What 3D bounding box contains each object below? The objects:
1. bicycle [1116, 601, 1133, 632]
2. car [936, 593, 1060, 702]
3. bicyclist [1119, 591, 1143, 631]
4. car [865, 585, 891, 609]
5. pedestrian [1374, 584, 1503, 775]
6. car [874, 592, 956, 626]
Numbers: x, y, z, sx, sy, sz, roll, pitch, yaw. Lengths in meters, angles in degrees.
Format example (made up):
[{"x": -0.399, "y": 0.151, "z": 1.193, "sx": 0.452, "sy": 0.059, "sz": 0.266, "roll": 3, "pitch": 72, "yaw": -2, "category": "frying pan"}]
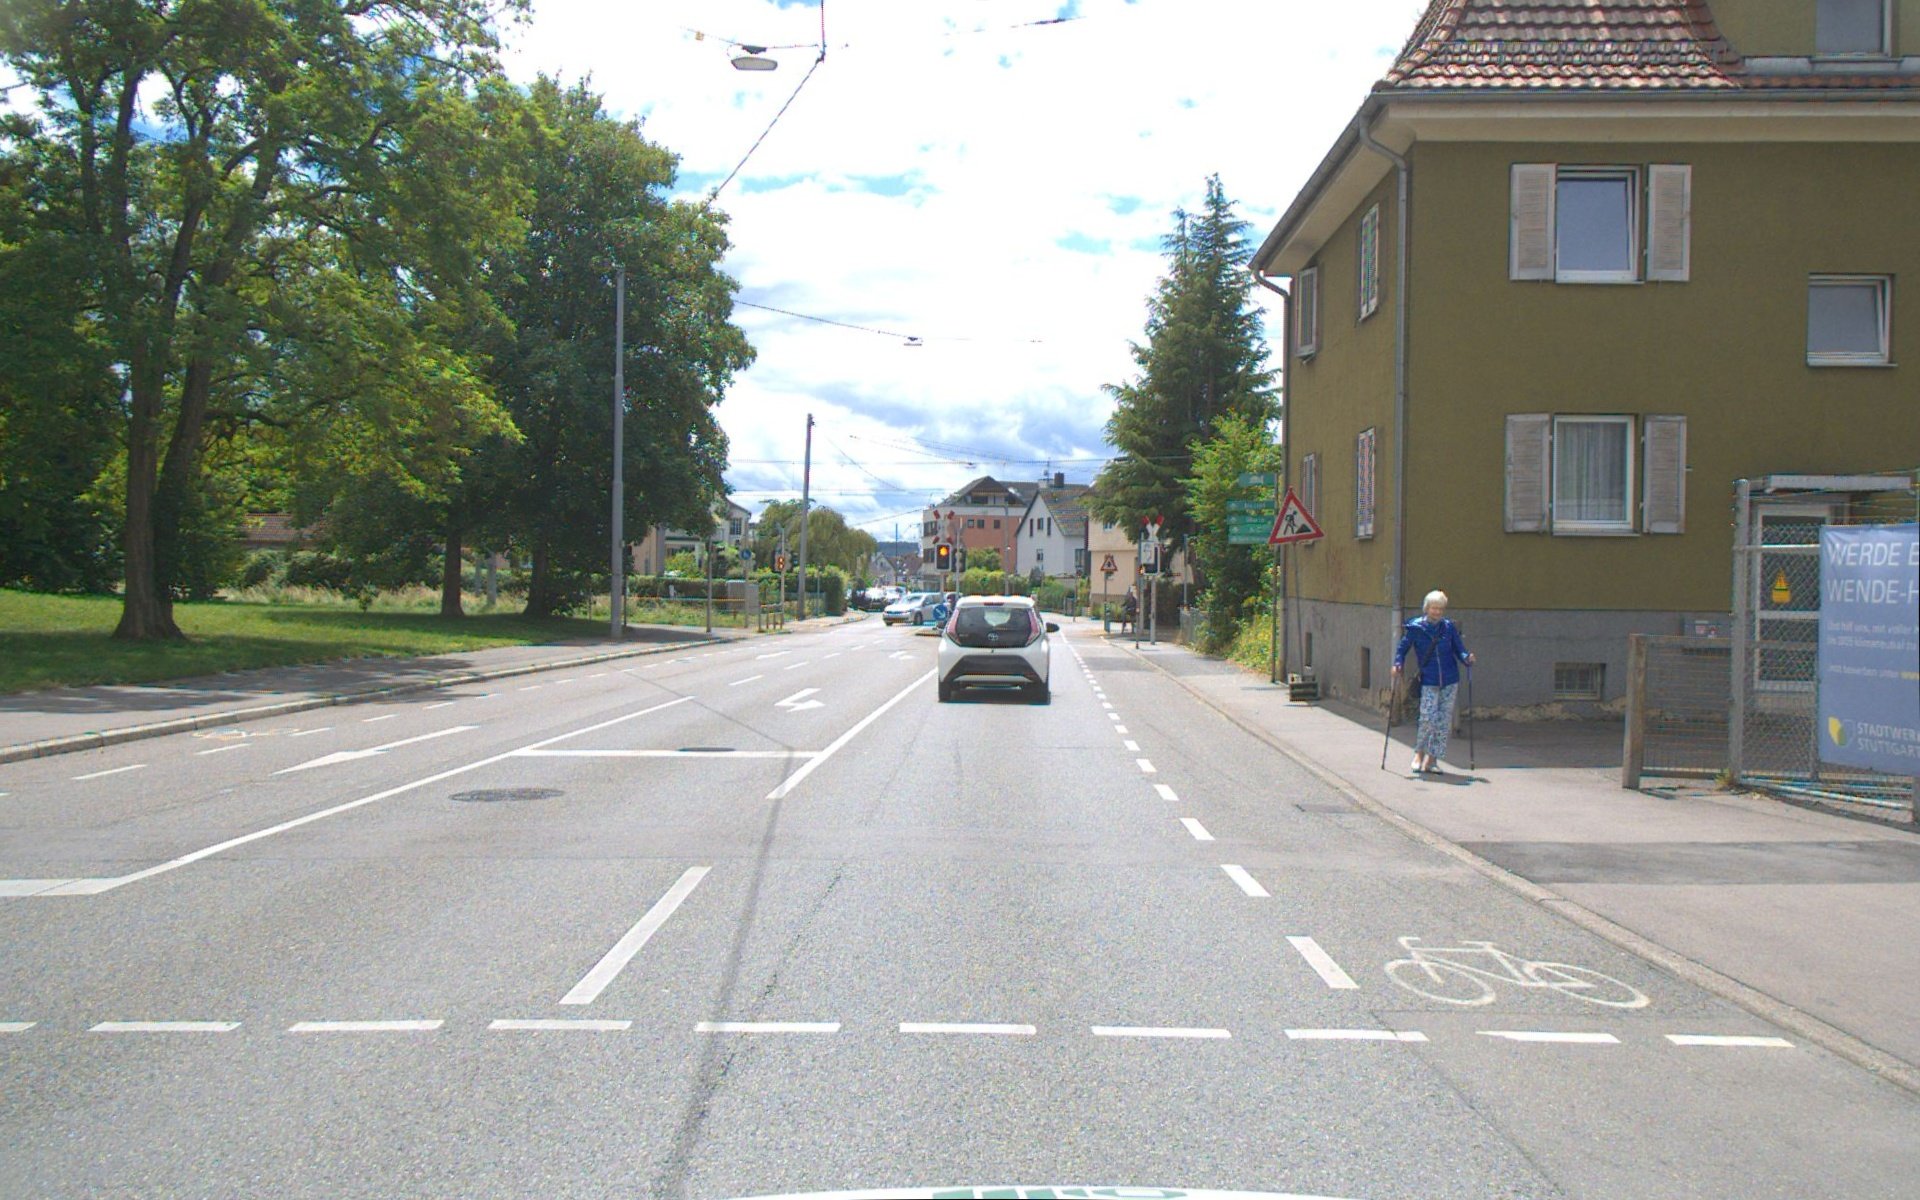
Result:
[{"x": 6.719, "y": 0.661, "z": 67.578, "sx": 0.448, "sy": 1.192, "sz": 1.479, "roll": -2, "pitch": 2, "yaw": -3, "category": "bicycle"}, {"x": 0.595, "y": 0.659, "z": 24.769, "sx": 1.685, "sy": 1.467, "sz": 3.709, "roll": 2, "pitch": 0, "yaw": 2, "category": "car"}, {"x": 7.005, "y": 0.457, "z": 67.587, "sx": 0.824, "sy": 1.580, "sz": 0.756, "roll": -2, "pitch": 2, "yaw": -3, "category": "bicyclist"}, {"x": -6.323, "y": -0.203, "z": 127.674, "sx": 1.954, "sy": 1.749, "sz": 3.997, "roll": 2, "pitch": 0, "yaw": -3, "category": "car"}, {"x": 4.165, "y": 0.668, "z": 14.461, "sx": 0.807, "sy": 1.599, "sz": 0.987, "roll": -1, "pitch": 0, "yaw": -2, "category": "pedestrian"}, {"x": -2.058, "y": 0.440, "z": 76.350, "sx": 1.870, "sy": 1.466, "sz": 4.089, "roll": 2, "pitch": 0, "yaw": 31, "category": "car"}]
